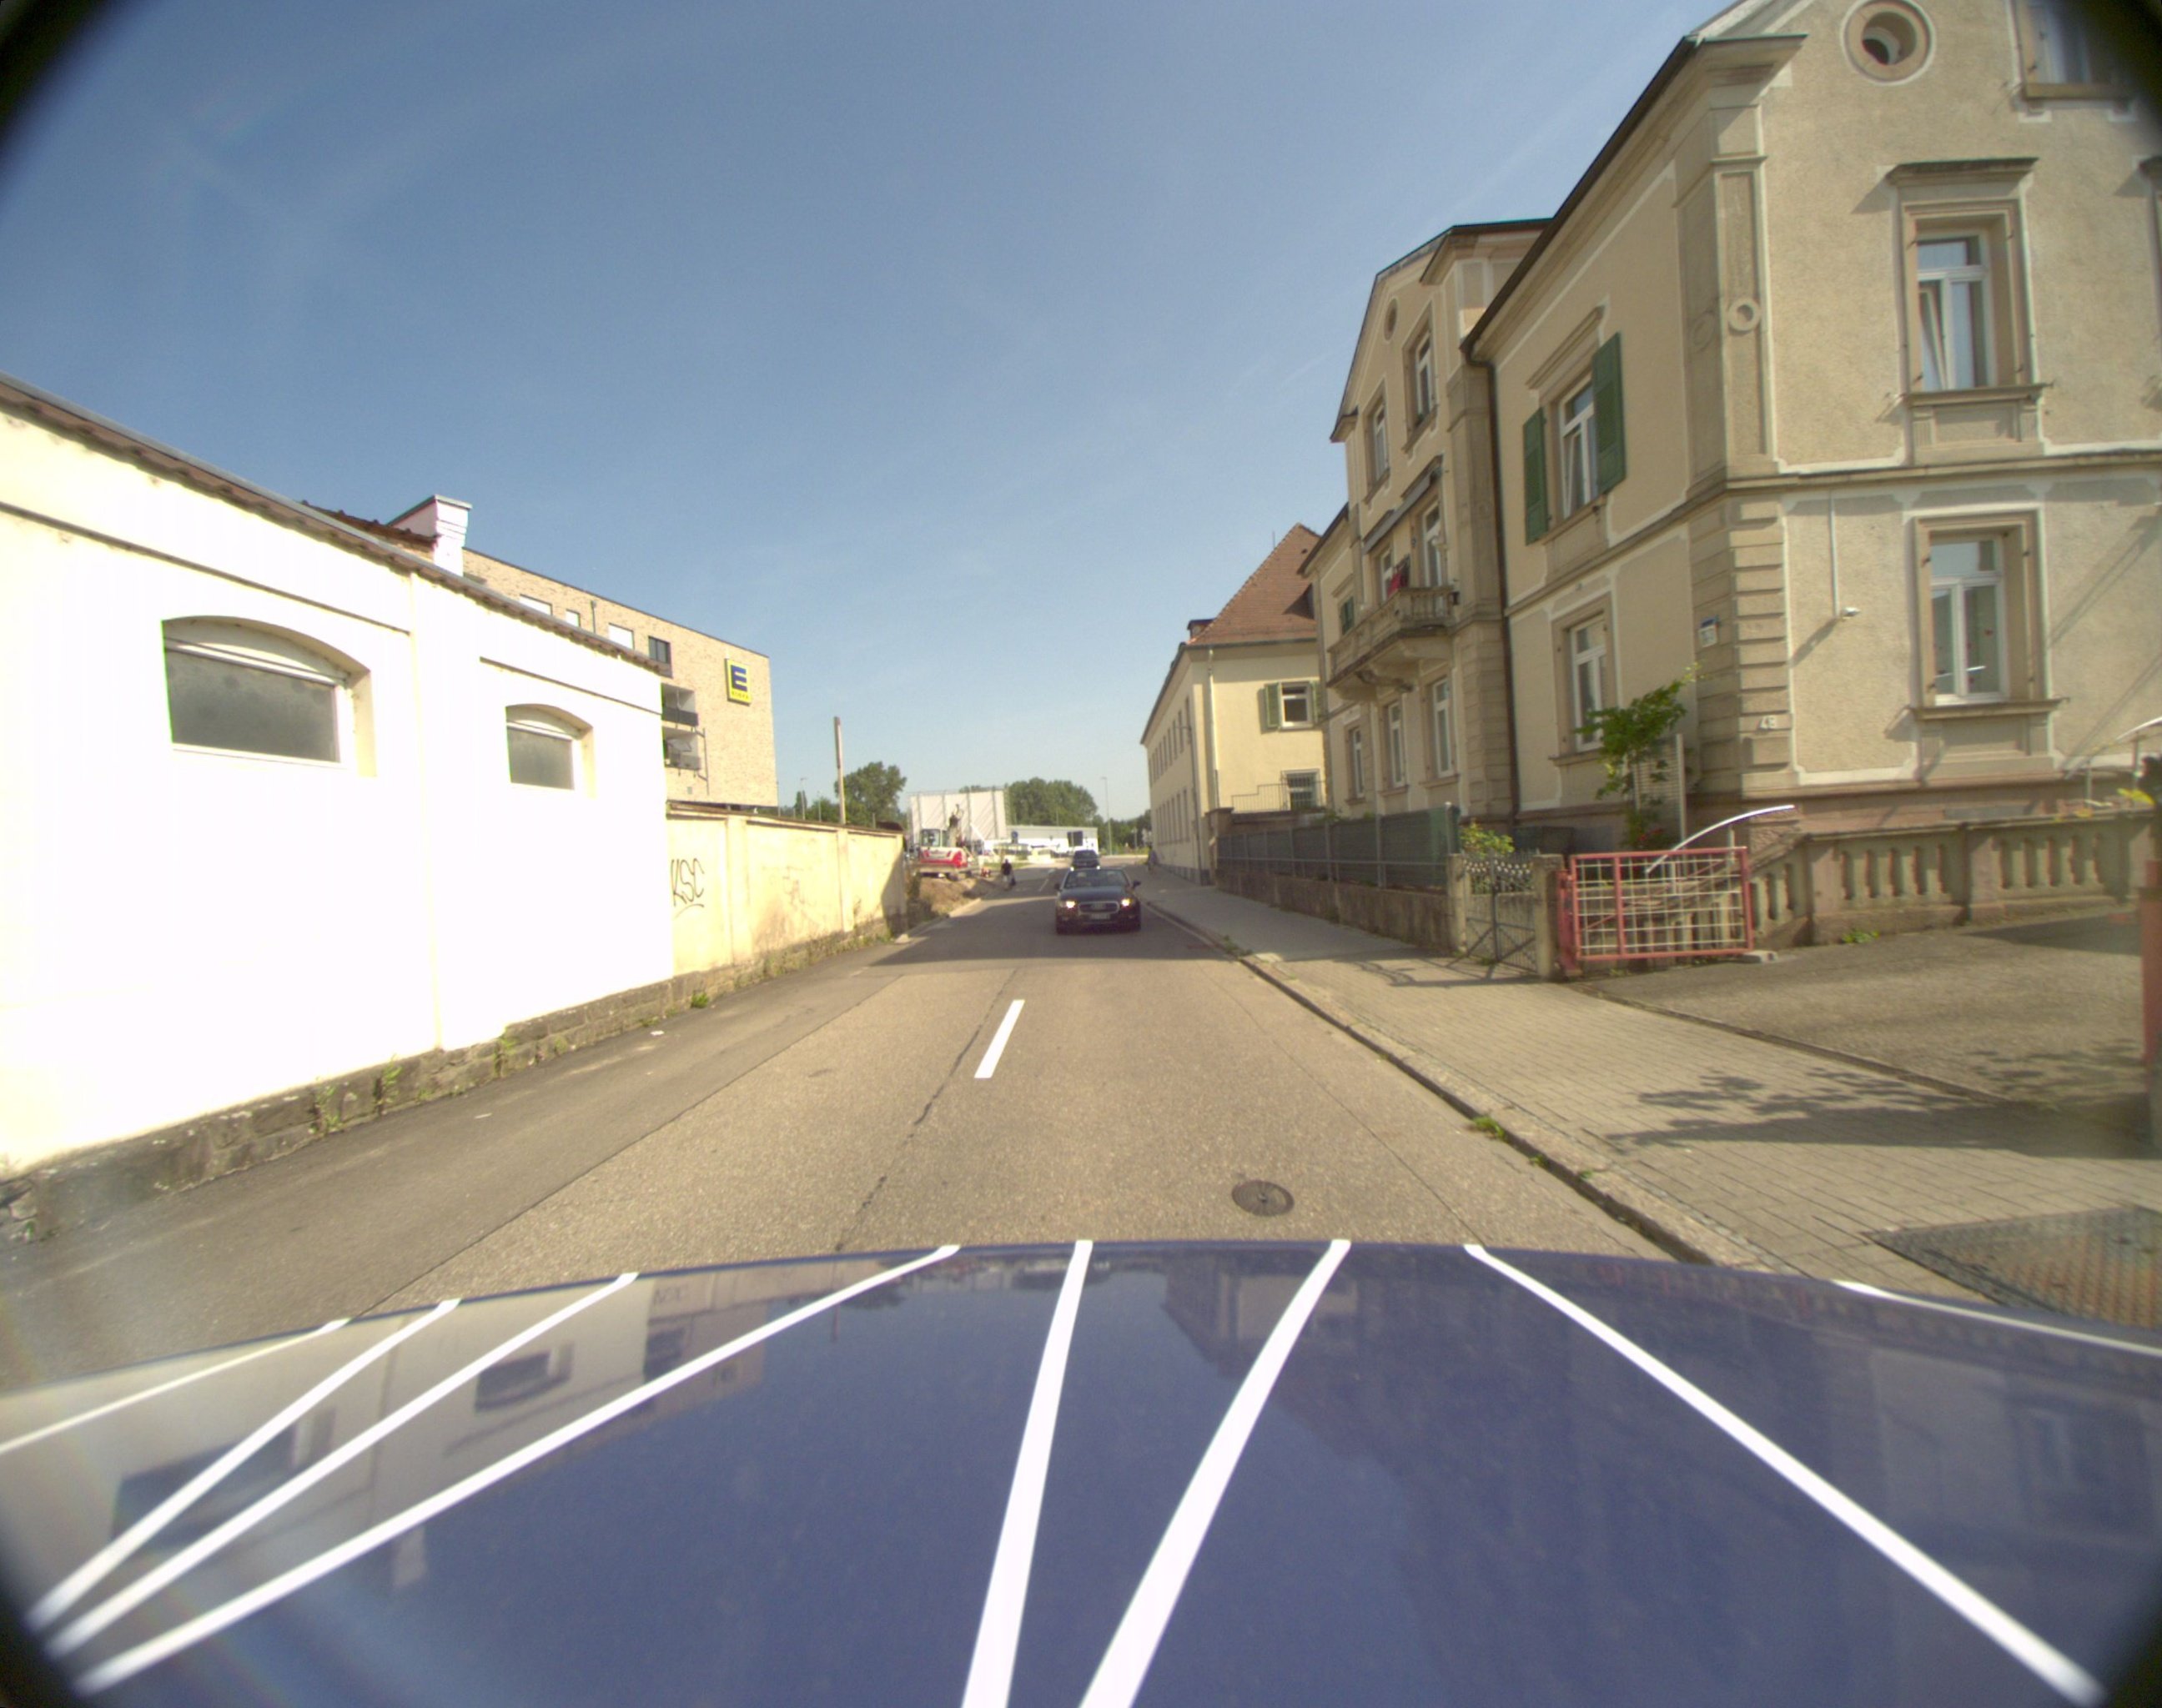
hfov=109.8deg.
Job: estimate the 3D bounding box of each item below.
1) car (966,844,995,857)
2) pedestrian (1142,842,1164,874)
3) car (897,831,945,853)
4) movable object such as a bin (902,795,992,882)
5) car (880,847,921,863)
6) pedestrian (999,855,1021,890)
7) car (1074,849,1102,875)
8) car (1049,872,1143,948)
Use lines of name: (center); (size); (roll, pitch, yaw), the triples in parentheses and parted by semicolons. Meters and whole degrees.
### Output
car: (-15.093, -0.481, 114.137); (4.018, 1.564, 1.780); (-6, 0, 3)
pedestrian: (3.922, 0.217, 41.433); (0.960, 1.622, 0.758); (-5, 1, 0)
car: (-22.014, -1.610, 104.404); (6.080, 2.369, 2.063); (-6, 0, 20)
movable object such as a bin: (-6.655, -0.776, 38.997); (2.300, 3.832, 7.799); (-6, 1, 5)
car: (-23.457, 0.130, 98.911); (4.851, 1.521, 1.925); (-6, -1, 22)
pedestrian: (-3.673, 0.951, 39.197); (0.890, 1.673, 0.718); (-5, 2, 1)
car: (0.467, 0.483, 47.738); (1.642, 1.385, 4.229); (-3, 1, 2)
car: (0.346, 1.110, 16.452); (1.721, 1.314, 4.225); (-3, -1, 2)
